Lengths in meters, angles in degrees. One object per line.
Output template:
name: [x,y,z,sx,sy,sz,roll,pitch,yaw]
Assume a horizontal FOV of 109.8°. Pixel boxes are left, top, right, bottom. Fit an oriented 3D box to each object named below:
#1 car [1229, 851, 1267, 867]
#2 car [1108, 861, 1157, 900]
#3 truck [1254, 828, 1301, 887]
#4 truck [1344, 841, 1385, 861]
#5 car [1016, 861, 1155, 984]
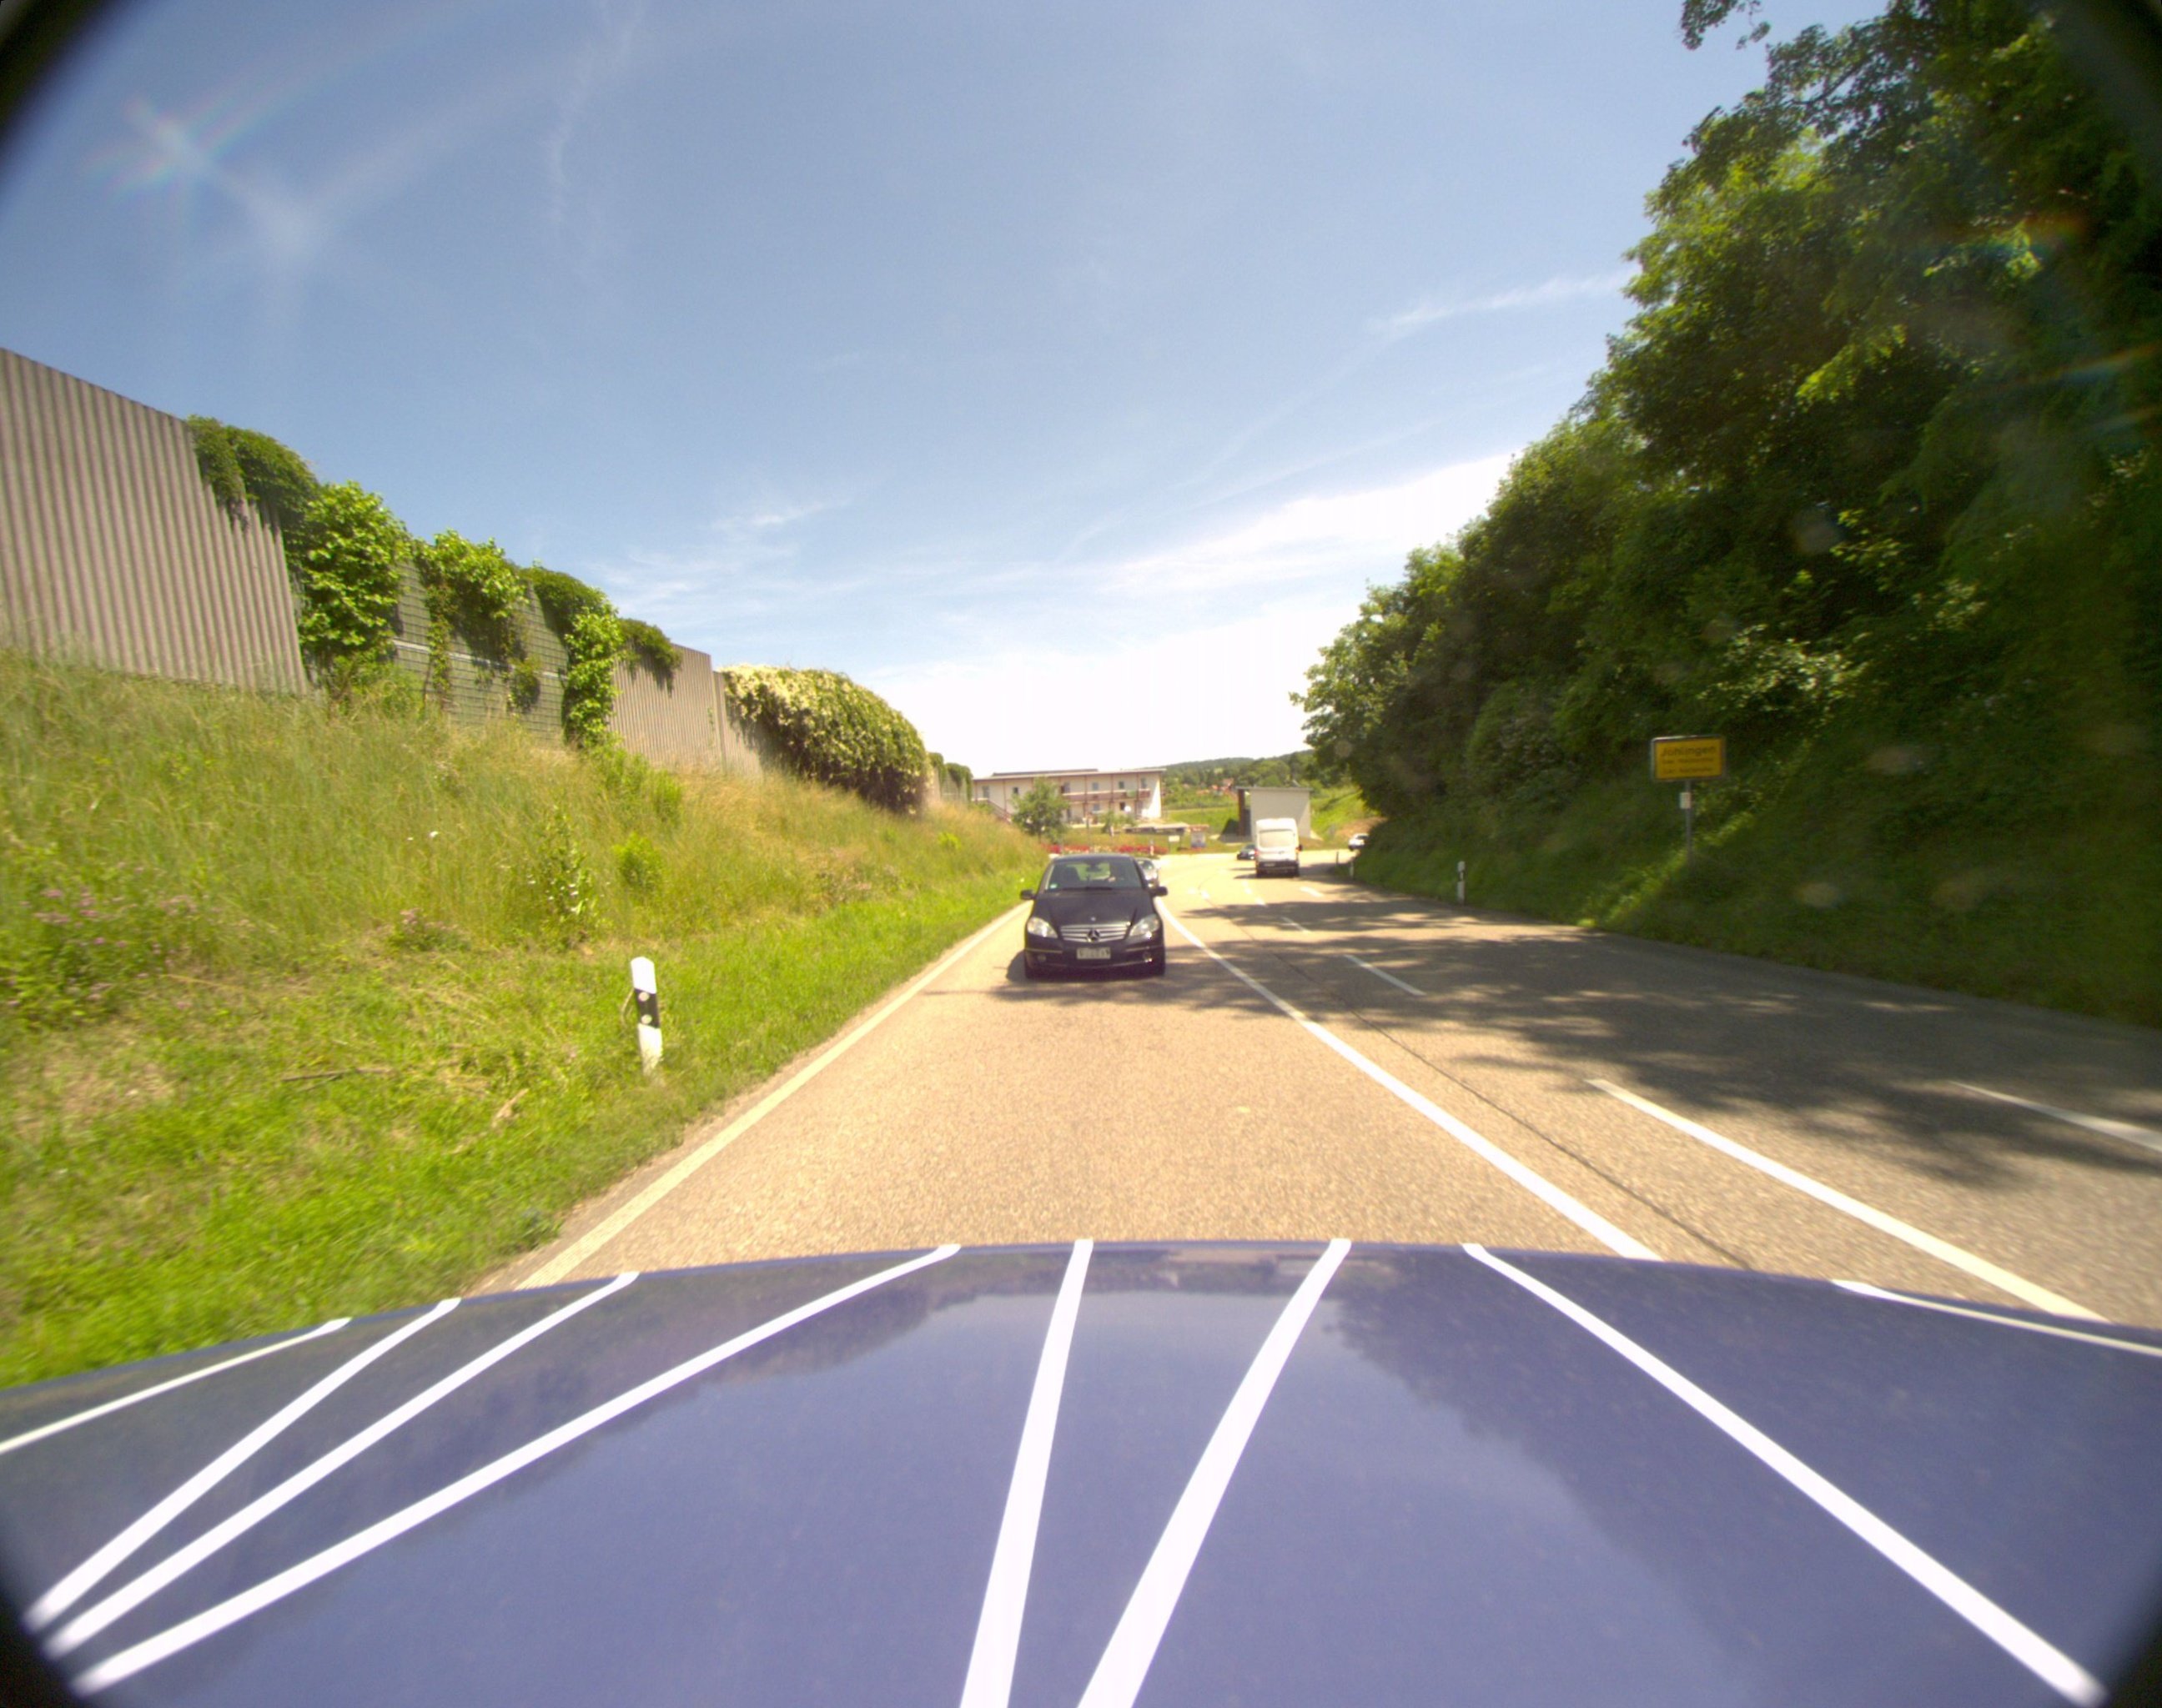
car: [14.455,0.425,65.590,1.751,1.281,4.154,2,2,33]
car: [1.959,0.927,27.953,1.646,1.314,3.440,0,0,7]
truck: [9.725,0.126,37.892,2.056,2.671,5.987,1,1,13]
truck: [31.049,-0.339,83.219,5.255,2.002,2.066,-2,2,-43]
car: [0.091,0.915,11.881,1.795,1.570,3.800,-1,0,1]
